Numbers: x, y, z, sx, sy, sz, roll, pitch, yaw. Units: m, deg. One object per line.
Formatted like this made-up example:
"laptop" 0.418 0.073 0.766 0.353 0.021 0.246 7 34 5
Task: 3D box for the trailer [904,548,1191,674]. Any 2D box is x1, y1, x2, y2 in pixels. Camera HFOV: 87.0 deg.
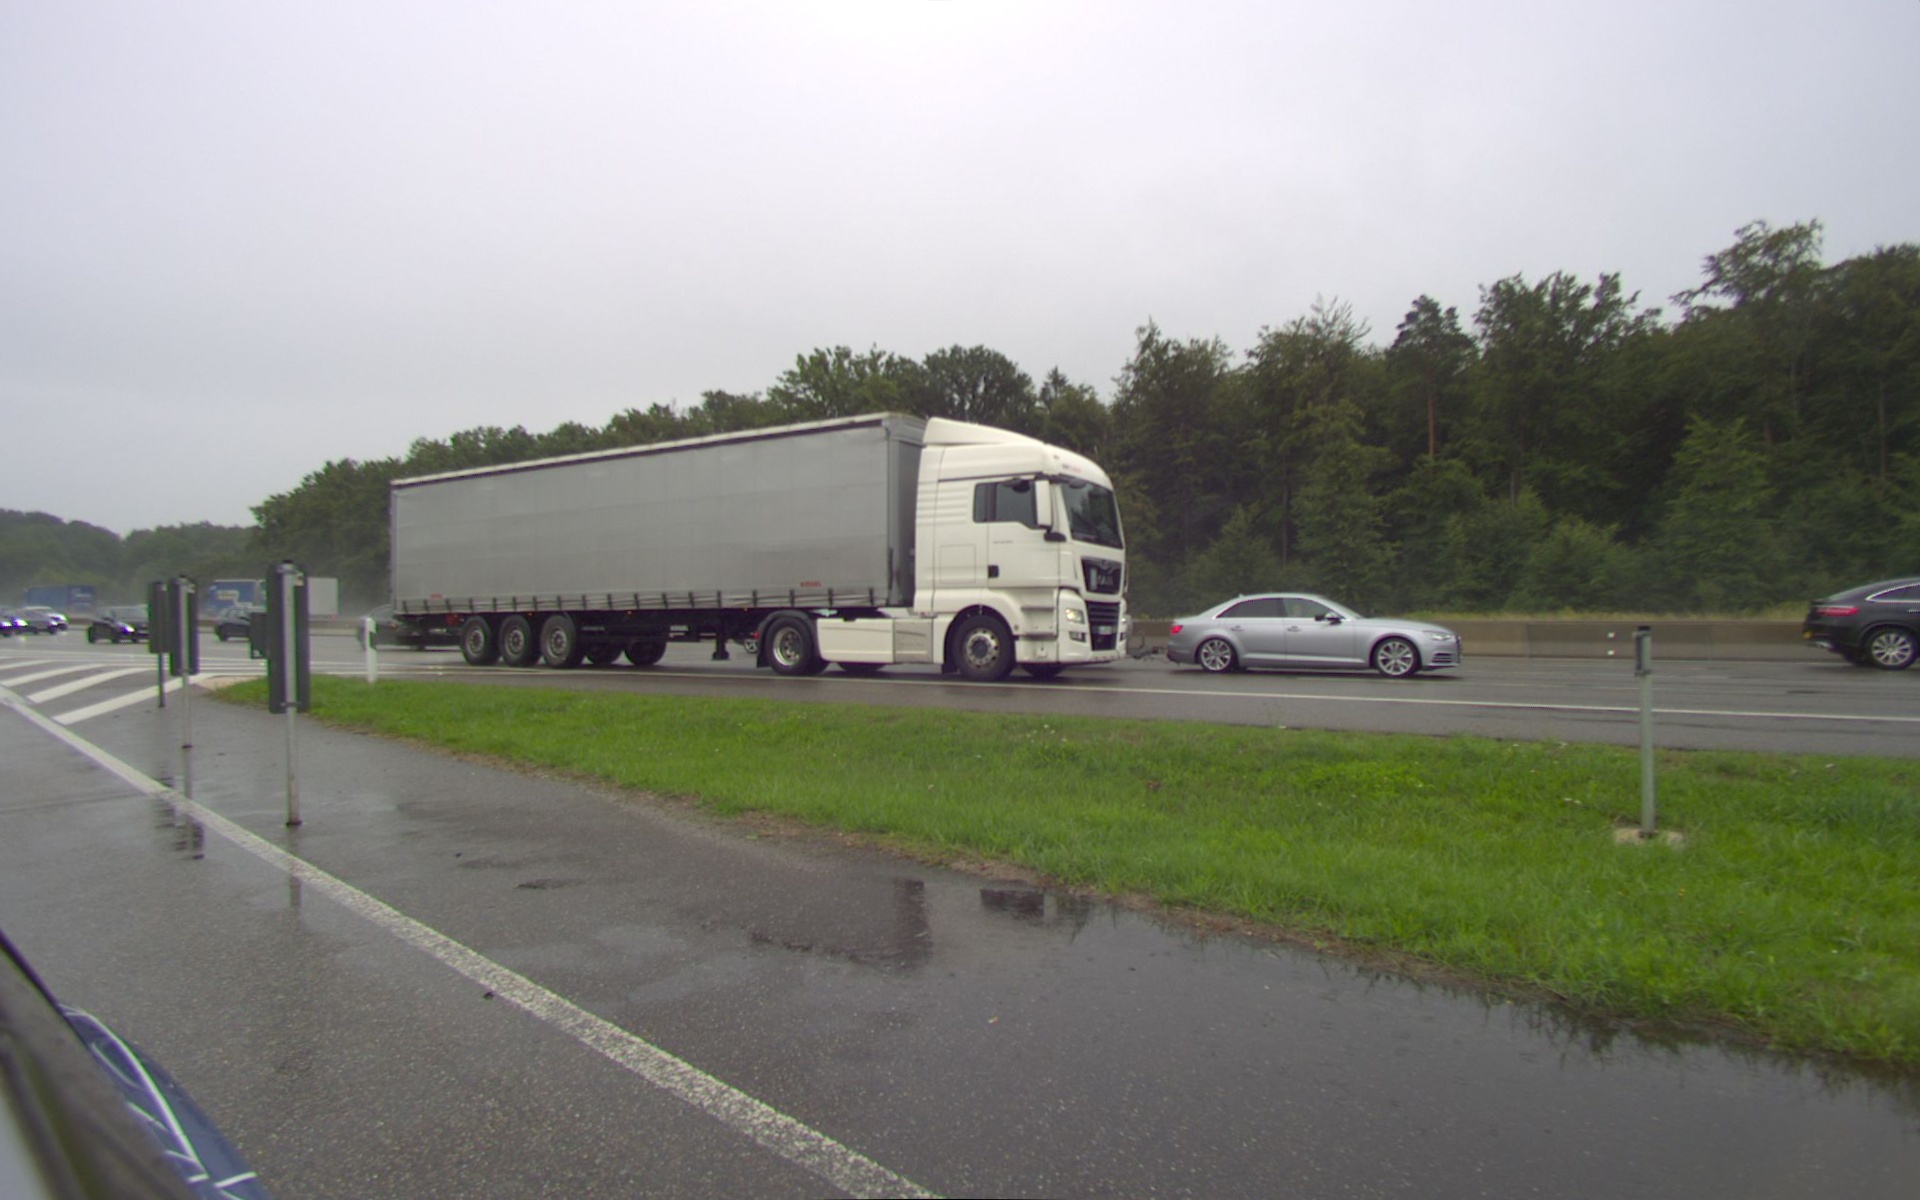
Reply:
"trailer" 1.637 0.262 19.635 5.159 2.172 2.114 -1 -2 30

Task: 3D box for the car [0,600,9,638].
"car" -50.587 1.042 51.972 3.991 1.918 1.746 -2 0 35

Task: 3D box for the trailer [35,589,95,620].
"trailer" -104.090 0.554 117.618 11.372 3.443 2.709 -1 0 35

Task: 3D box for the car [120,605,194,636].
"car" -45.589 1.154 57.431 4.388 1.681 1.805 1 -1 31

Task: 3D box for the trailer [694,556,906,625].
"trailer" -9.135 -0.380 56.026 13.449 3.524 2.627 -1 -1 34

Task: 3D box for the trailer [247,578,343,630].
"trailer" -56.850 0.295 86.450 9.134 4.076 3.069 0 4 32

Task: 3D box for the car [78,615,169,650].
"car" -33.996 1.305 41.103 3.990 1.383 1.803 -1 -1 34

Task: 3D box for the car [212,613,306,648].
"car" -30.051 1.305 43.347 4.108 1.425 1.805 -1 -1 31

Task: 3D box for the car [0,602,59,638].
"car" -54.109 1.139 58.768 3.991 2.029 1.841 -1 -1 35

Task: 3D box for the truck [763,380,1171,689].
"truck" 0.030 -0.799 16.148 5.914 4.083 2.851 -1 -2 32

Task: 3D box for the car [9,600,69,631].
"car" -62.265 1.075 68.428 3.985 2.029 1.979 -1 -1 31

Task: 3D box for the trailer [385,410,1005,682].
"trailer" -5.951 -0.667 19.851 14.069 4.013 2.873 -1 -2 32

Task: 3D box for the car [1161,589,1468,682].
"car" 5.835 0.583 16.839 4.564 1.358 1.833 -1 -2 30

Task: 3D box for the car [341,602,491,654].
"car" -16.522 0.827 30.708 4.482 1.492 1.868 -1 -1 28

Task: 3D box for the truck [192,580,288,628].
"truck" -65.250 0.299 91.653 10.521 4.008 3.039 0 4 32

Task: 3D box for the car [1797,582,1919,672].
"car" 18.141 0.484 18.188 4.508 1.587 1.692 -1 -2 31
